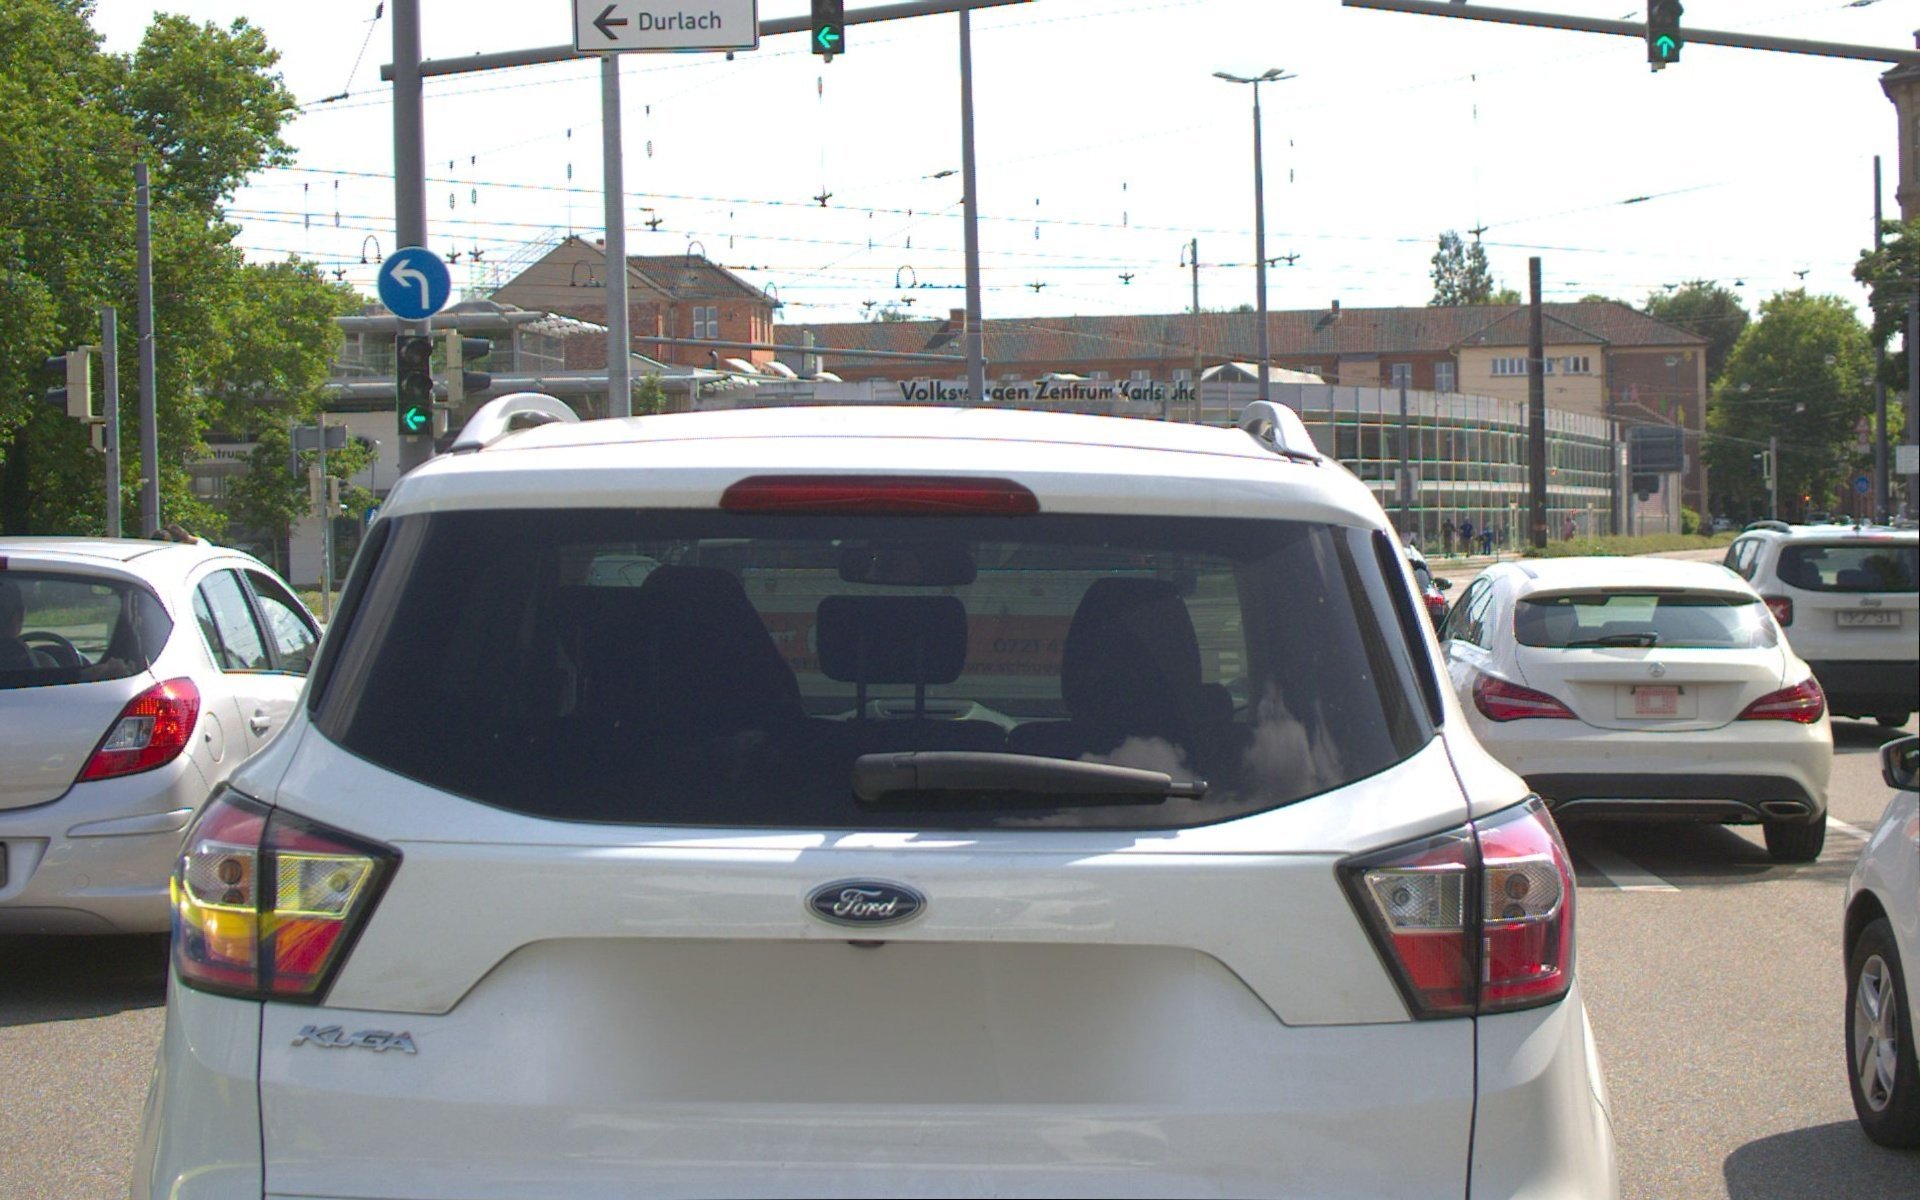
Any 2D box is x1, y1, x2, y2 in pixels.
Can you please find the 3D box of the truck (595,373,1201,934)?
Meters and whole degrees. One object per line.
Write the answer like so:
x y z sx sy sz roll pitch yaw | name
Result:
-0.109 0.155 16.333 2.339 2.148 5.851 1 1 3 | truck

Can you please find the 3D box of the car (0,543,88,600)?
-33.336 -1.025 125.020 1.967 1.930 5.069 -3 0 -1 | car

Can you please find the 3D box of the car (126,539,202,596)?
-28.660 -1.144 123.898 1.967 1.930 4.231 -3 0 -5 | car

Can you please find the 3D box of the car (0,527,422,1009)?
-3.190 0.493 12.541 1.848 1.469 4.000 -1 1 -1 | car

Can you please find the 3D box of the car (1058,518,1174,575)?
4.287 -1.470 93.683 1.901 1.456 3.964 -2 1 22 | car

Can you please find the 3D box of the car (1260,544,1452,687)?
4.065 0.126 35.752 1.850 1.414 3.678 0 1 5 | car

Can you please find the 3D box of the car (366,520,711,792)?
-2.602 0.281 22.162 1.762 1.563 4.527 0 1 -1 | car

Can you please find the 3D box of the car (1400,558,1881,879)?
3.257 0.505 17.114 1.850 1.414 3.679 0 1 3 | car

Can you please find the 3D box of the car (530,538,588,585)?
-14.209 -1.355 121.991 1.818 1.528 3.917 -3 0 -5 | car

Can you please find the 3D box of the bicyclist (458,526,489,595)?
-12.212 -0.996 86.224 0.637 1.732 0.662 -1 2 -20 | bicyclist

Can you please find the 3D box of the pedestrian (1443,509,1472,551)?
20.924 -2.945 144.531 0.877 1.731 0.874 1 0 35 | pedestrian

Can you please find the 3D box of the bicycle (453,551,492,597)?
-12.251 -0.655 86.342 0.637 1.121 1.785 -1 2 -19 | bicycle

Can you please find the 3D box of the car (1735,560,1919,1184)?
3.049 0.643 7.513 1.649 1.417 4.001 0 1 -2 | car

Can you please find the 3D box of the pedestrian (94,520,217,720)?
-6.760 0.165 28.913 0.847 1.642 0.692 -1 0 -1 | pedestrian

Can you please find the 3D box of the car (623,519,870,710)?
-1.863 0.084 30.773 2.039 1.573 4.540 0 1 -2 | car

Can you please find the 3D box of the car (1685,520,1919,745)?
6.887 0.220 27.196 1.837 1.646 3.999 0 0 6 | car

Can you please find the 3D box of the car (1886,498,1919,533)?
46.625 -4.156 169.030 1.838 1.646 3.996 0 0 20 | car

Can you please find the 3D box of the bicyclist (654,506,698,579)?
-6.630 -1.339 80.335 0.760 1.677 0.760 -2 1 14 | bicyclist

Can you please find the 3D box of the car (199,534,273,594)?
-26.000 -1.272 123.641 1.993 2.007 4.231 -3 0 -5 | car

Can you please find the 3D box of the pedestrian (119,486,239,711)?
-6.755 -0.017 29.761 0.847 1.910 0.692 -1 0 -1 | pedestrian

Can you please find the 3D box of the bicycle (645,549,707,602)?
-6.621 -0.580 80.297 0.760 1.188 2.149 -2 1 14 | bicycle

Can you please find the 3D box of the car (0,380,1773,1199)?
-0.017 0.584 5.389 1.827 1.658 3.955 0 1 3 | car
